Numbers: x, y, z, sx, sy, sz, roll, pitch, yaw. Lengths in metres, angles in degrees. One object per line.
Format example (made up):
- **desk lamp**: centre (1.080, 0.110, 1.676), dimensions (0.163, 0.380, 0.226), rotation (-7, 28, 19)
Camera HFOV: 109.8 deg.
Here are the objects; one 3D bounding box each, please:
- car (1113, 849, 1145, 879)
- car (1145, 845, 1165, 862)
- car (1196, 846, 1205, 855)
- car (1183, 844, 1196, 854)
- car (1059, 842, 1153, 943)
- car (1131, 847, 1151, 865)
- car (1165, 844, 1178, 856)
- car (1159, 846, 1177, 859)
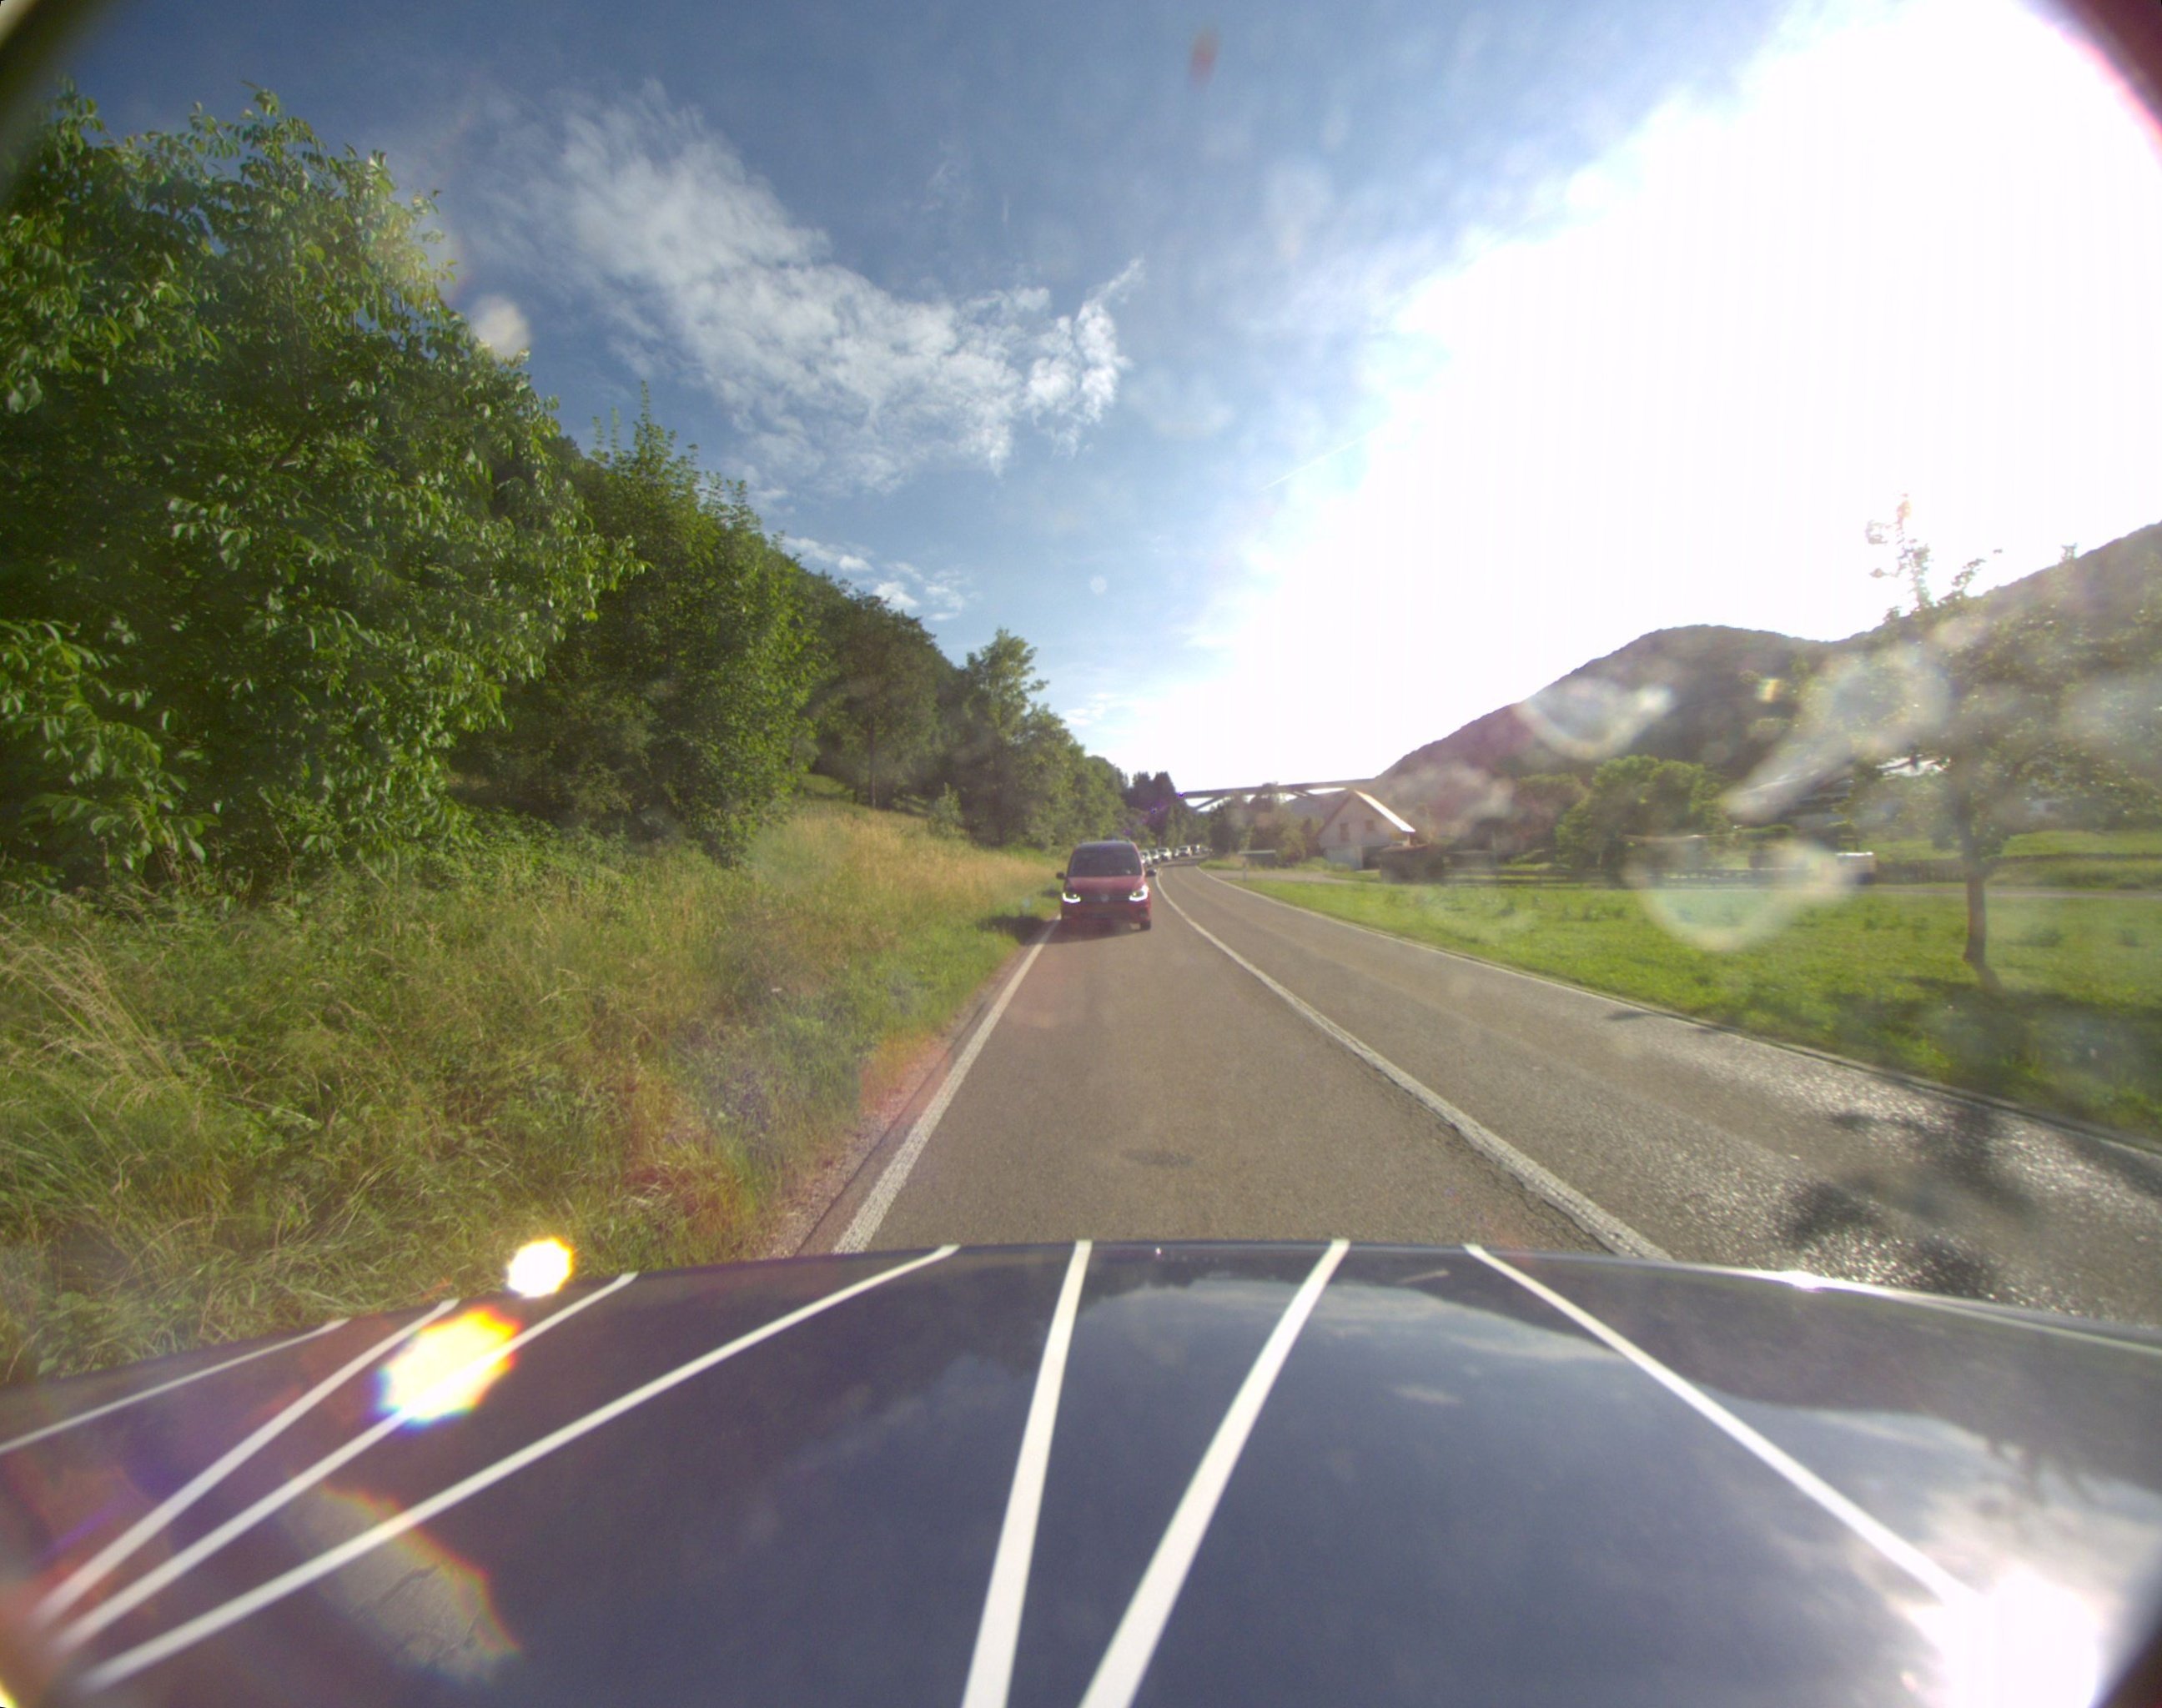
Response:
- **car**: centre (2.743, 0.536, 42.522), dimensions (1.629, 1.470, 3.680), rotation (-2, 1, 5)
- **car**: centre (7.246, -0.063, 74.747), dimensions (1.630, 1.470, 3.679), rotation (-2, 1, 2)
- **car**: centre (23.312, -0.703, 147.994), dimensions (1.629, 1.470, 3.681), rotation (-2, 1, 9)
- **car**: centre (16.947, -0.856, 118.591), dimensions (1.629, 1.470, 3.680), rotation (-2, 1, 5)
- **car**: centre (0.507, 0.672, 15.783), dimensions (1.649, 1.762, 4.000), rotation (-2, 1, 2)
- **car**: centre (5.223, 0.162, 65.645), dimensions (1.629, 1.470, 3.680), rotation (-2, 1, 5)
- **car**: centre (12.245, -0.538, 102.921), dimensions (1.629, 1.470, 3.681), rotation (-2, 1, 9)
- **car**: centre (10.096, -0.212, 88.375), dimensions (1.630, 1.470, 3.679), rotation (-2, 1, 2)
